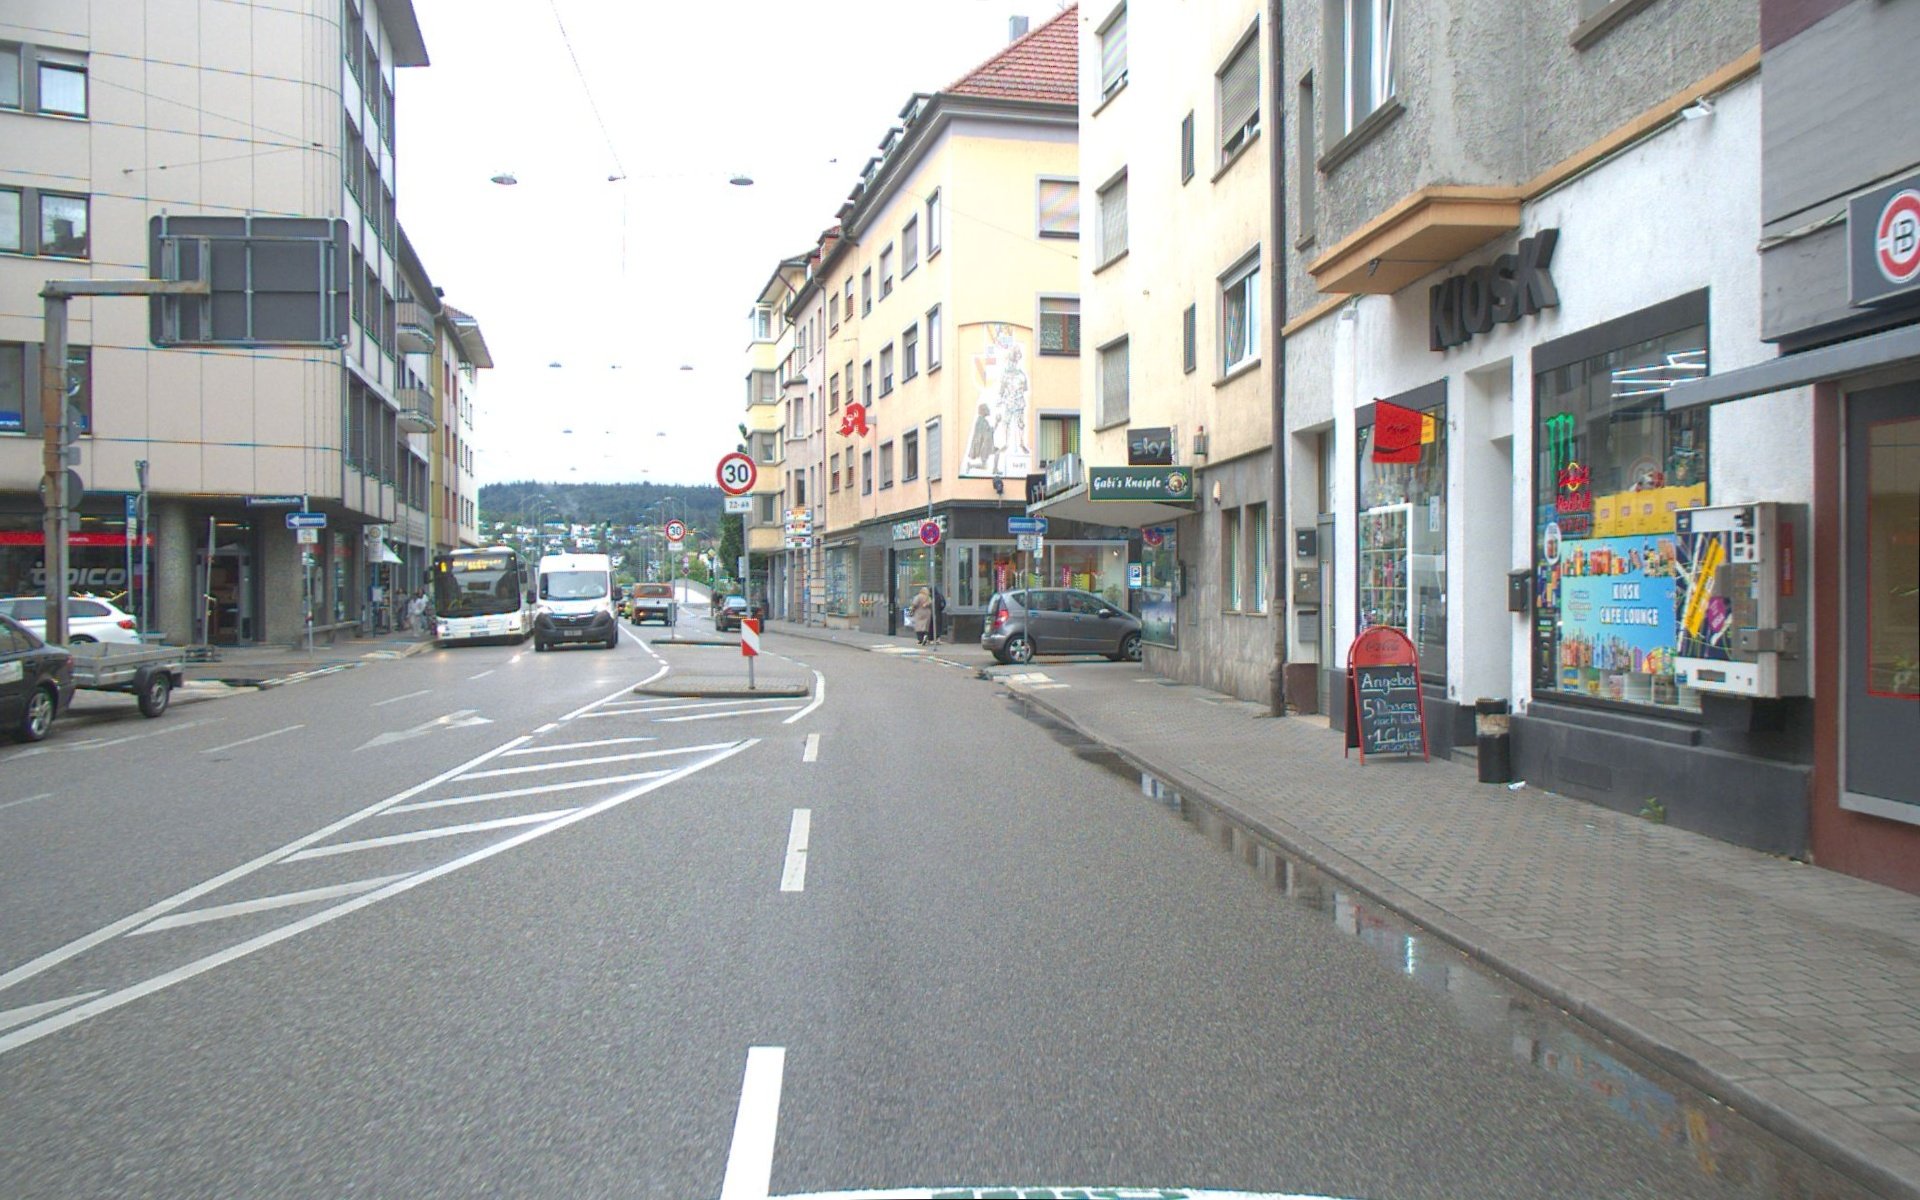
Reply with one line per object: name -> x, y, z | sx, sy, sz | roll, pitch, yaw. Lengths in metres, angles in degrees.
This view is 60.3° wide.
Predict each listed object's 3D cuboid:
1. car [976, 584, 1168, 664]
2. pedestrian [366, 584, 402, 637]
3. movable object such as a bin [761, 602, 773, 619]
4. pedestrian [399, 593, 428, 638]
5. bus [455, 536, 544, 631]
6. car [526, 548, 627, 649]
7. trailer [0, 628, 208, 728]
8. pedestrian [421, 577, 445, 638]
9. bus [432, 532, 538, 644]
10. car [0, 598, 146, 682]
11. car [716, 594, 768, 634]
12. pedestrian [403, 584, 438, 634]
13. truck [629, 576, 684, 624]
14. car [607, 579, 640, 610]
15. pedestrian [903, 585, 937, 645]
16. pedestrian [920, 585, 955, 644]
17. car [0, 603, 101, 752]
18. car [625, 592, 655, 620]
car -> 2.380, 0.504, 35.626 | 3.756, 1.601, 1.931 | -1, 0, -11
pedestrian -> -18.179, 0.330, 52.218 | 0.928, 1.617, 0.832 | -1, 0, -11
movable object such as a bin -> -10.627, 0.569, 91.203 | 0.590, 0.942, 0.702 | -1, 0, -13
pedestrian -> -17.556, 0.486, 53.147 | 0.754, 1.420, 0.785 | -1, 0, -11
bus -> -16.993, -0.562, 61.482 | 2.678, 3.244, 9.262 | -1, 0, -13
car -> -10.184, -0.029, 44.346 | 2.047, 2.478, 6.341 | -1, 0, -8
trailer -> -10.619, 0.906, 20.150 | 1.556, 0.965, 3.054 | 4, 0, -3
pedestrian -> -17.910, 0.252, 56.245 | 0.666, 2.049, 0.775 | -1, 0, -11
bus -> -14.939, -0.334, 52.571 | 2.711, 3.244, 8.882 | -1, 0, -13
car -> -18.560, 0.778, 32.330 | 4.586, 1.559, 1.884 | -1, 0, -33
car -> -8.764, 0.558, 66.296 | 1.724, 1.505, 3.987 | 2, -1, -13
pedestrian -> -18.987, 0.312, 58.251 | 0.982, 1.713, 1.262 | -1, 0, -11
truck -> -14.525, 0.001, 78.931 | 2.358, 2.167, 5.297 | -1, 0, -13
car -> -22.982, -0.329, 112.951 | 1.961, 2.049, 3.983 | -1, 0, -15
pedestrian -> -1.082, 0.401, 44.613 | 0.765, 1.587, 0.780 | -1, 0, -15
pedestrian -> -0.606, 0.398, 45.044 | 0.755, 1.587, 0.873 | -1, 0, -15
car -> -10.417, 0.758, 16.183 | 1.814, 1.422, 4.788 | 3, 0, -5
car -> -19.597, 0.367, 101.195 | 1.724, 1.680, 3.987 | -1, 0, -13
